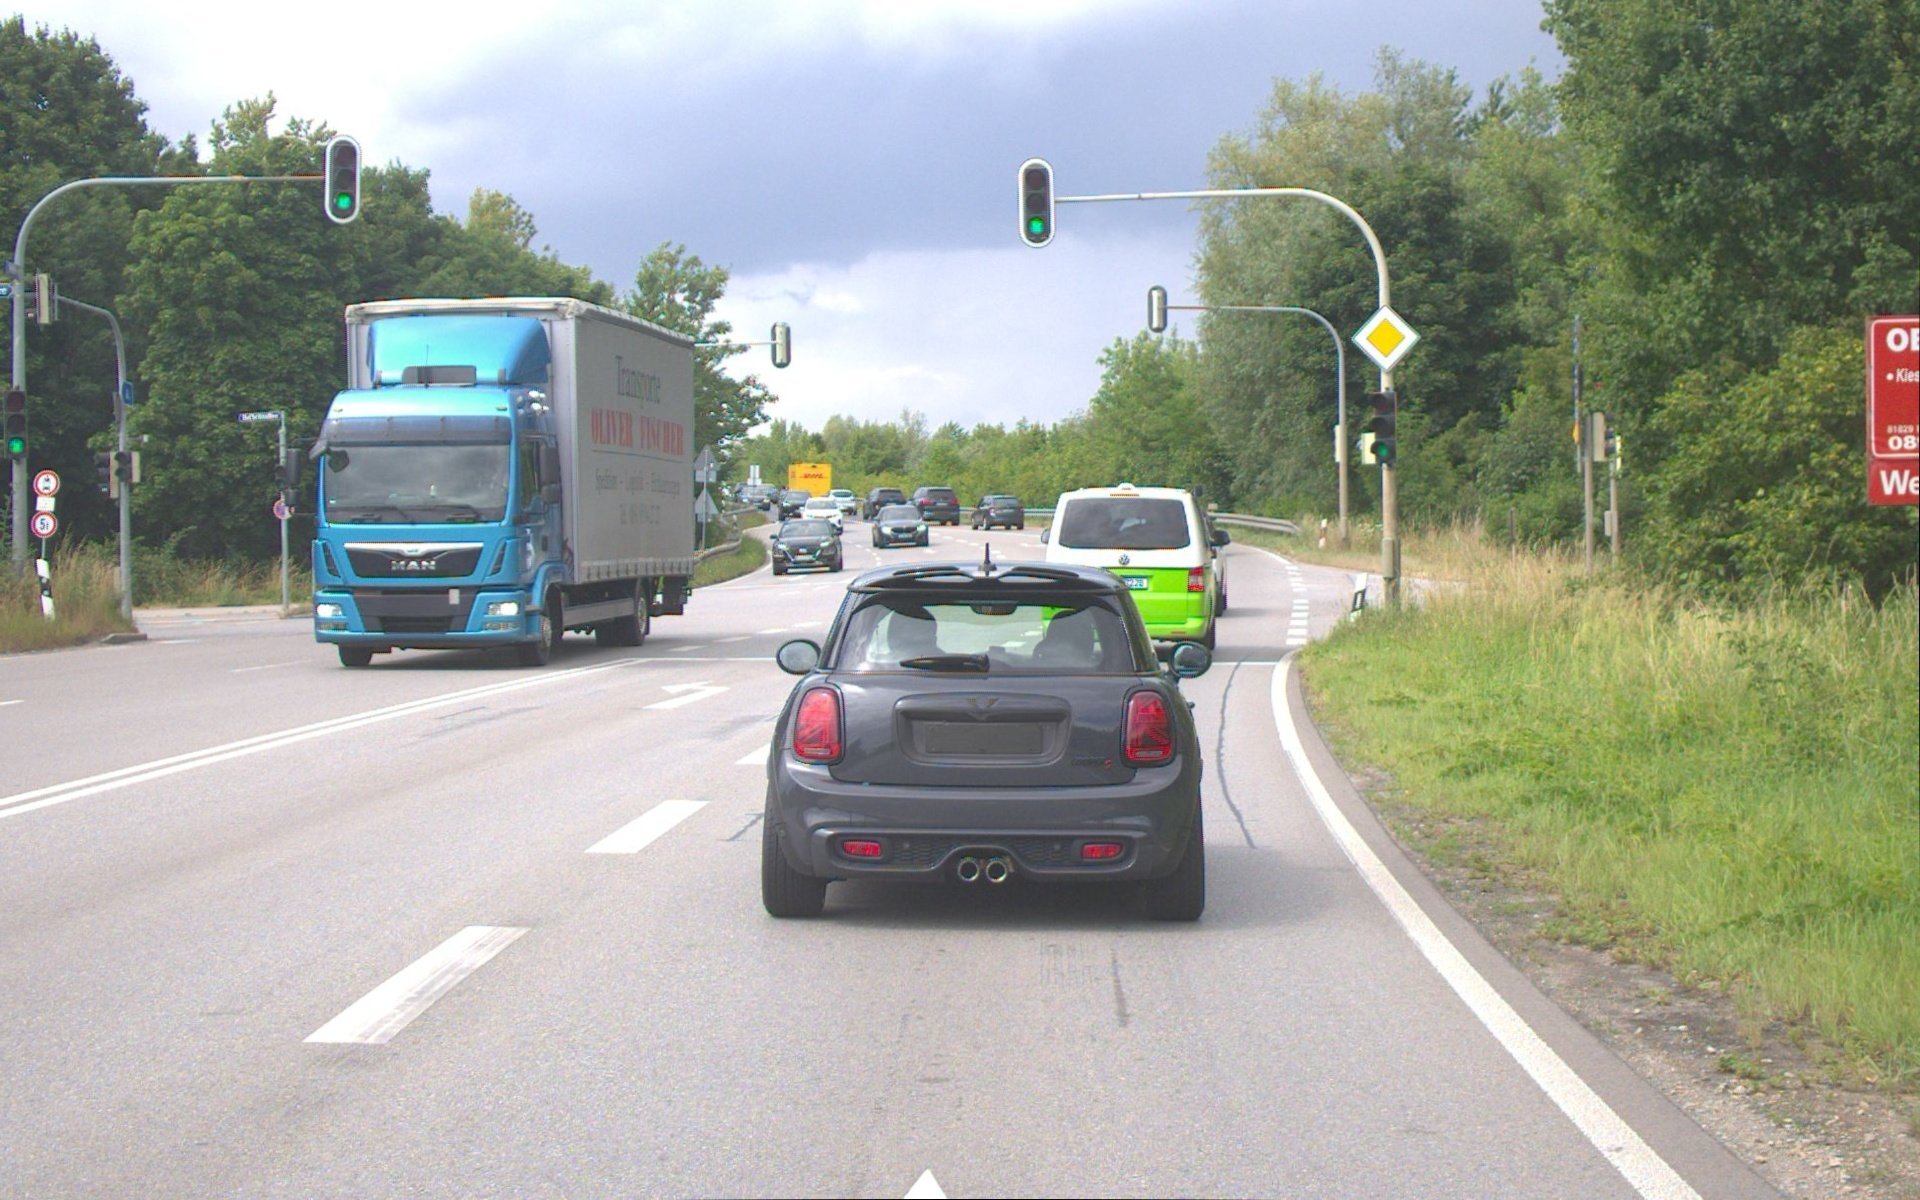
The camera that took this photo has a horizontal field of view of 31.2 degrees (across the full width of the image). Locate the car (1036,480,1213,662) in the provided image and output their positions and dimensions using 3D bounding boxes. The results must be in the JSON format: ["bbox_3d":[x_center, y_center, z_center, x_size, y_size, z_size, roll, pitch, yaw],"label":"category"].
[{"bbox_3d":[1.938,-0.383,39.561,1.845,1.980,3.841,0,2,5],"label":"car"}]

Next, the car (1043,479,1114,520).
[{"bbox_3d":[4.349,-3.709,126.863,1.993,1.471,4.487,0,1,-7],"label":"car"}]

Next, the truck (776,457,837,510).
[{"bbox_3d":[-9.506,-7.137,212.280,2.716,2.888,8.773,0,0,-10],"label":"truck"}]

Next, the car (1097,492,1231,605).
[{"bbox_3d":[3.159,-0.801,53.641,1.994,1.678,4.000,-1,1,3],"label":"car"}]

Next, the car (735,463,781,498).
[{"bbox_3d":[-10.001,-5.923,169.951,1.993,1.684,4.001,-1,2,-7],"label":"car"}]

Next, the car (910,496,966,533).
[{"bbox_3d":[-1.048,-4.007,161.192,1.993,1.690,4.487,0,1,-9],"label":"car"}]

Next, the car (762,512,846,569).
[{"bbox_3d":[-4.389,-1.699,97.141,1.792,1.568,3.999,0,1,6],"label":"car"}]

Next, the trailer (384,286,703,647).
[{"bbox_3d":[-4.986,-1.586,42.389,2.528,4.087,6.734,0,1,5],"label":"trailer"}]

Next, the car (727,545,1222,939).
[{"bbox_3d":[0.064,0.503,14.820,1.845,1.423,3.841,0,1,0],"label":"car"}]

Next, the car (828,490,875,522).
[{"bbox_3d":[-6.217,-5.355,196.132,1.993,1.781,4.487,0,1,-11],"label":"car"}]

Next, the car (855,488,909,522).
[{"bbox_3d":[-4.041,-4.893,177.399,1.993,1.690,4.487,0,1,-11],"label":"car"}]

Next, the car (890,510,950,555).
[{"bbox_3d":[-1.428,-2.477,124.953,1.788,1.524,4.903,-3,1,4],"label":"car"}]

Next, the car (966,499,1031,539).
[{"bbox_3d":[1.618,-3.448,146.395,1.993,1.690,4.487,0,1,-9],"label":"car"}]

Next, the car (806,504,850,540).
[{"bbox_3d":[-5.712,-3.388,148.780,1.729,1.499,4.347,-1,2,0],"label":"car"}]

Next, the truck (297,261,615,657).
[{"bbox_3d":[-5.422,-1.497,37.600,2.540,4.082,3.999,0,1,5],"label":"truck"}]
